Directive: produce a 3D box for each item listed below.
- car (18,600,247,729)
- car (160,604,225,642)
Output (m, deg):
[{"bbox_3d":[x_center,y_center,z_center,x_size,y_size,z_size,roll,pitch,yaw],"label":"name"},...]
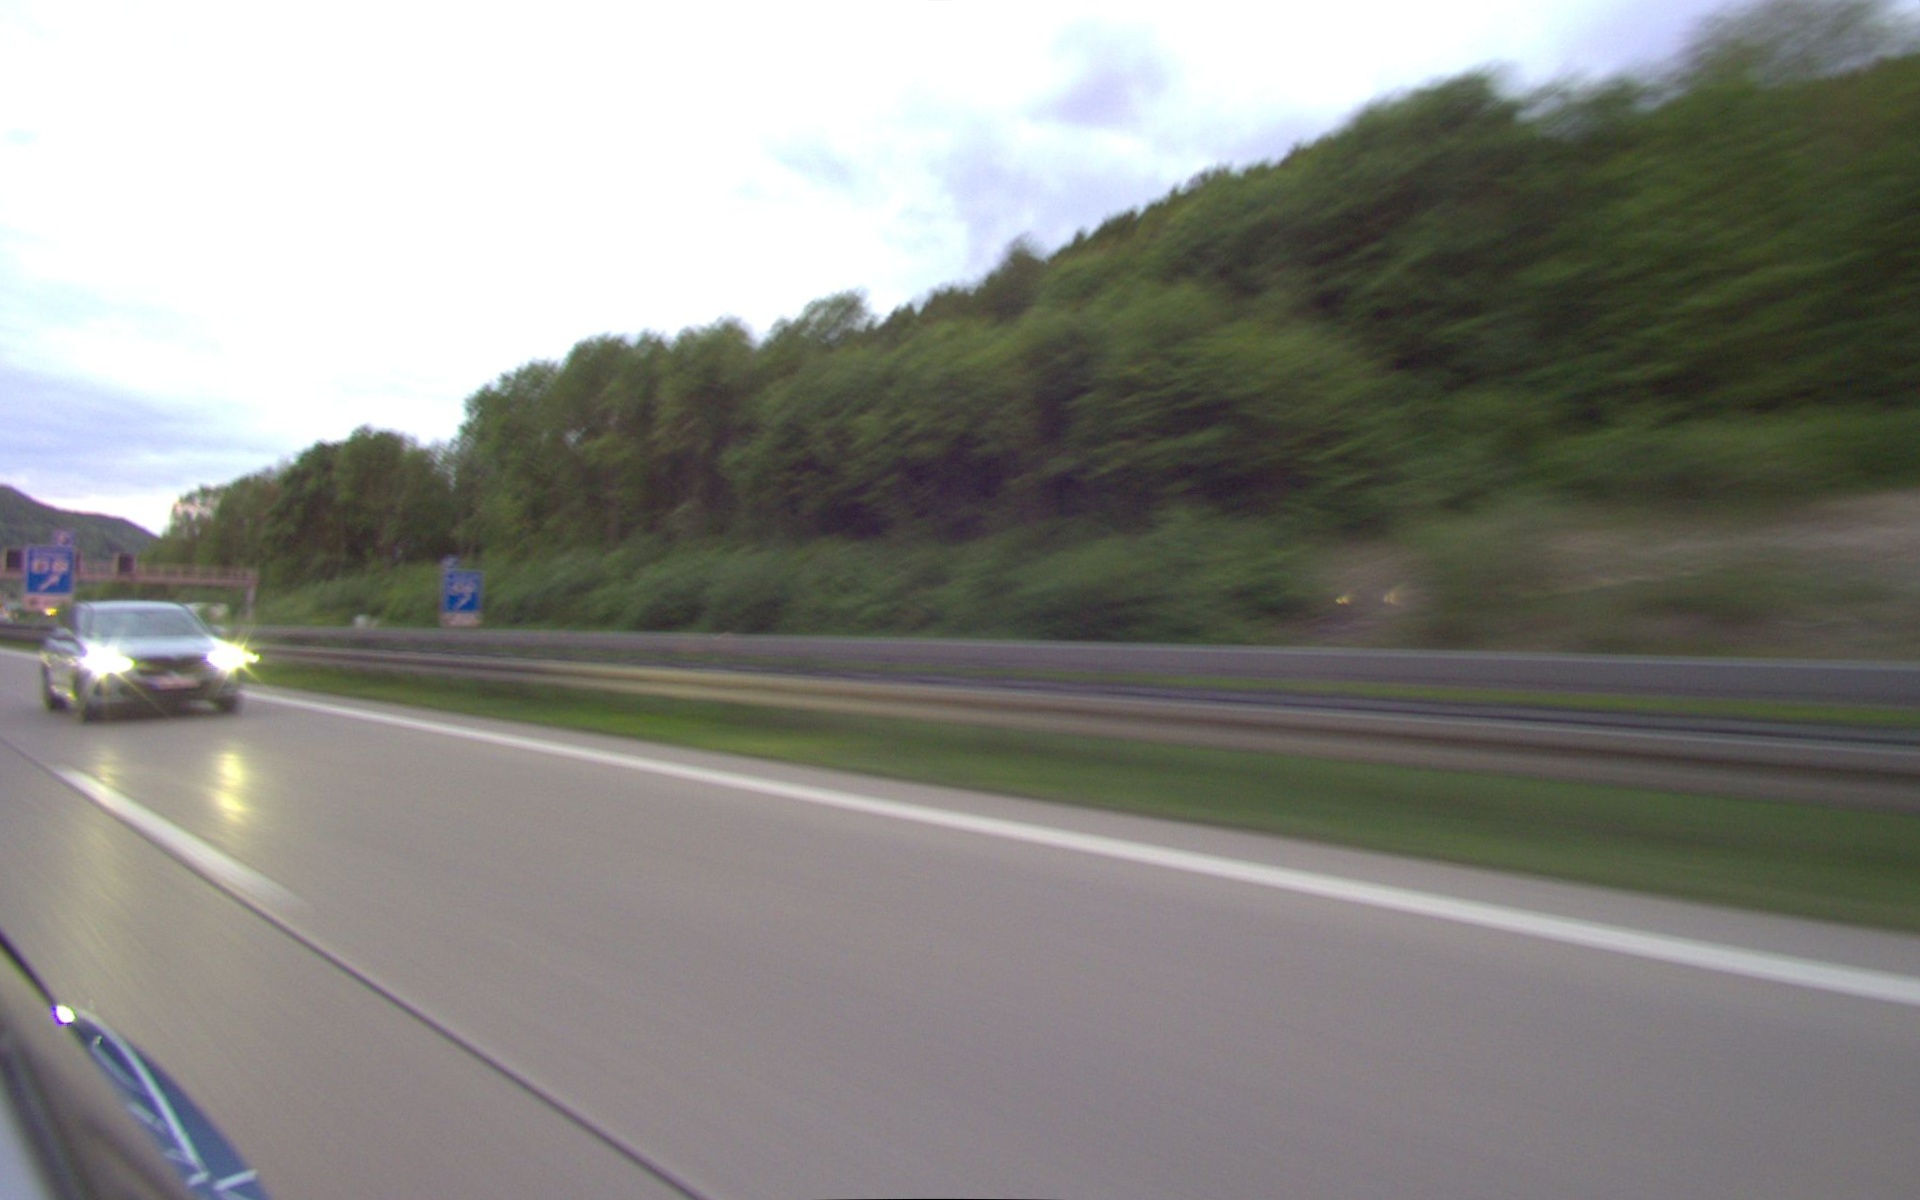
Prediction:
[{"bbox_3d":[-13.007,0.868,15.747,5.637,1.672,1.869,-1,-1,41],"label":"car"},{"bbox_3d":[-50.550,1.491,66.610,6.716,2.377,2.115,-1,-1,41],"label":"car"}]
